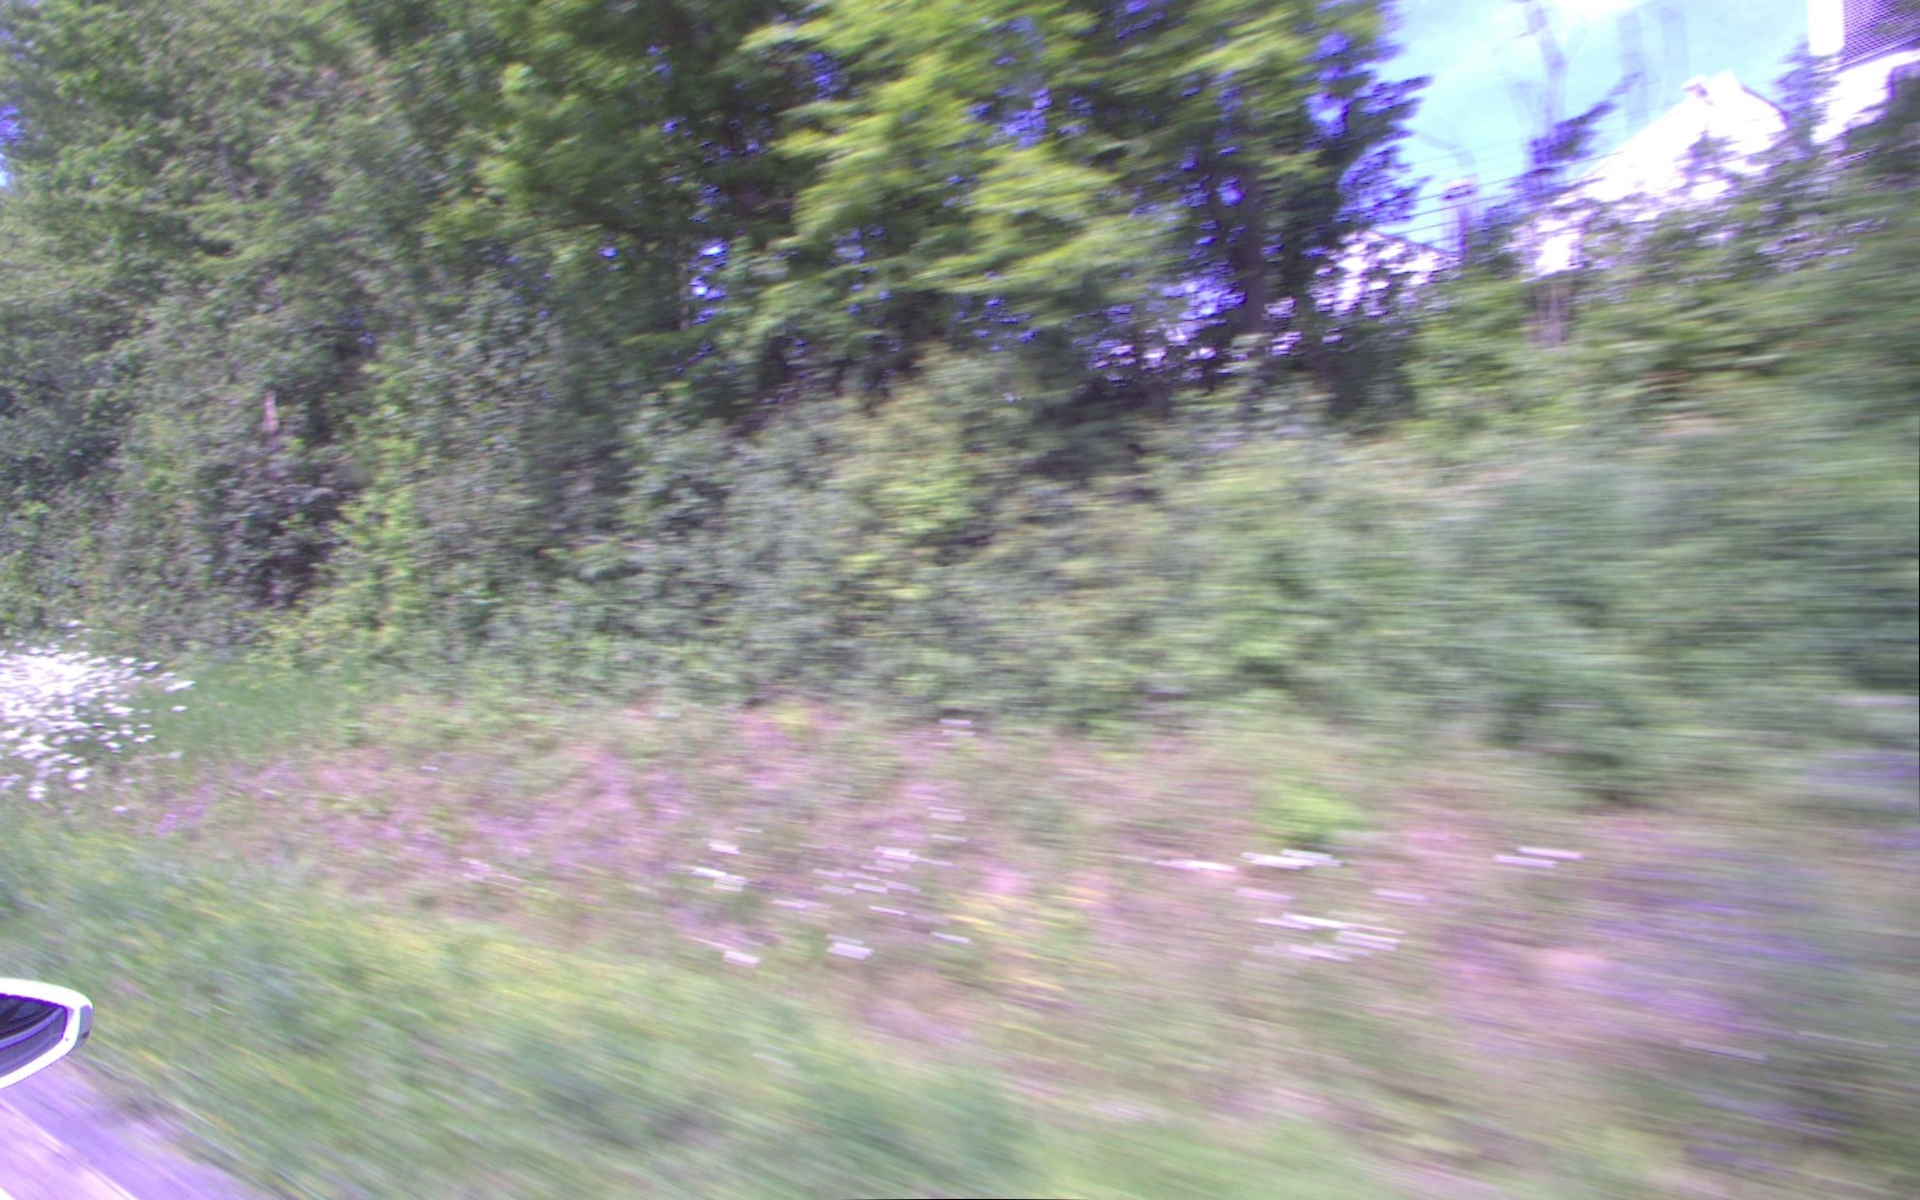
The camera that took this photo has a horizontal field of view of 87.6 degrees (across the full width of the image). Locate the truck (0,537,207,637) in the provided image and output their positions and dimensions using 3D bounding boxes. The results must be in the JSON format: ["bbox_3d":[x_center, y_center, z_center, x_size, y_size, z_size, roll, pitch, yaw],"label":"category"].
[{"bbox_3d":[-48.807,-0.614,54.894,3.767,4.808,16.197,-1,0,-5],"label":"truck"}]
